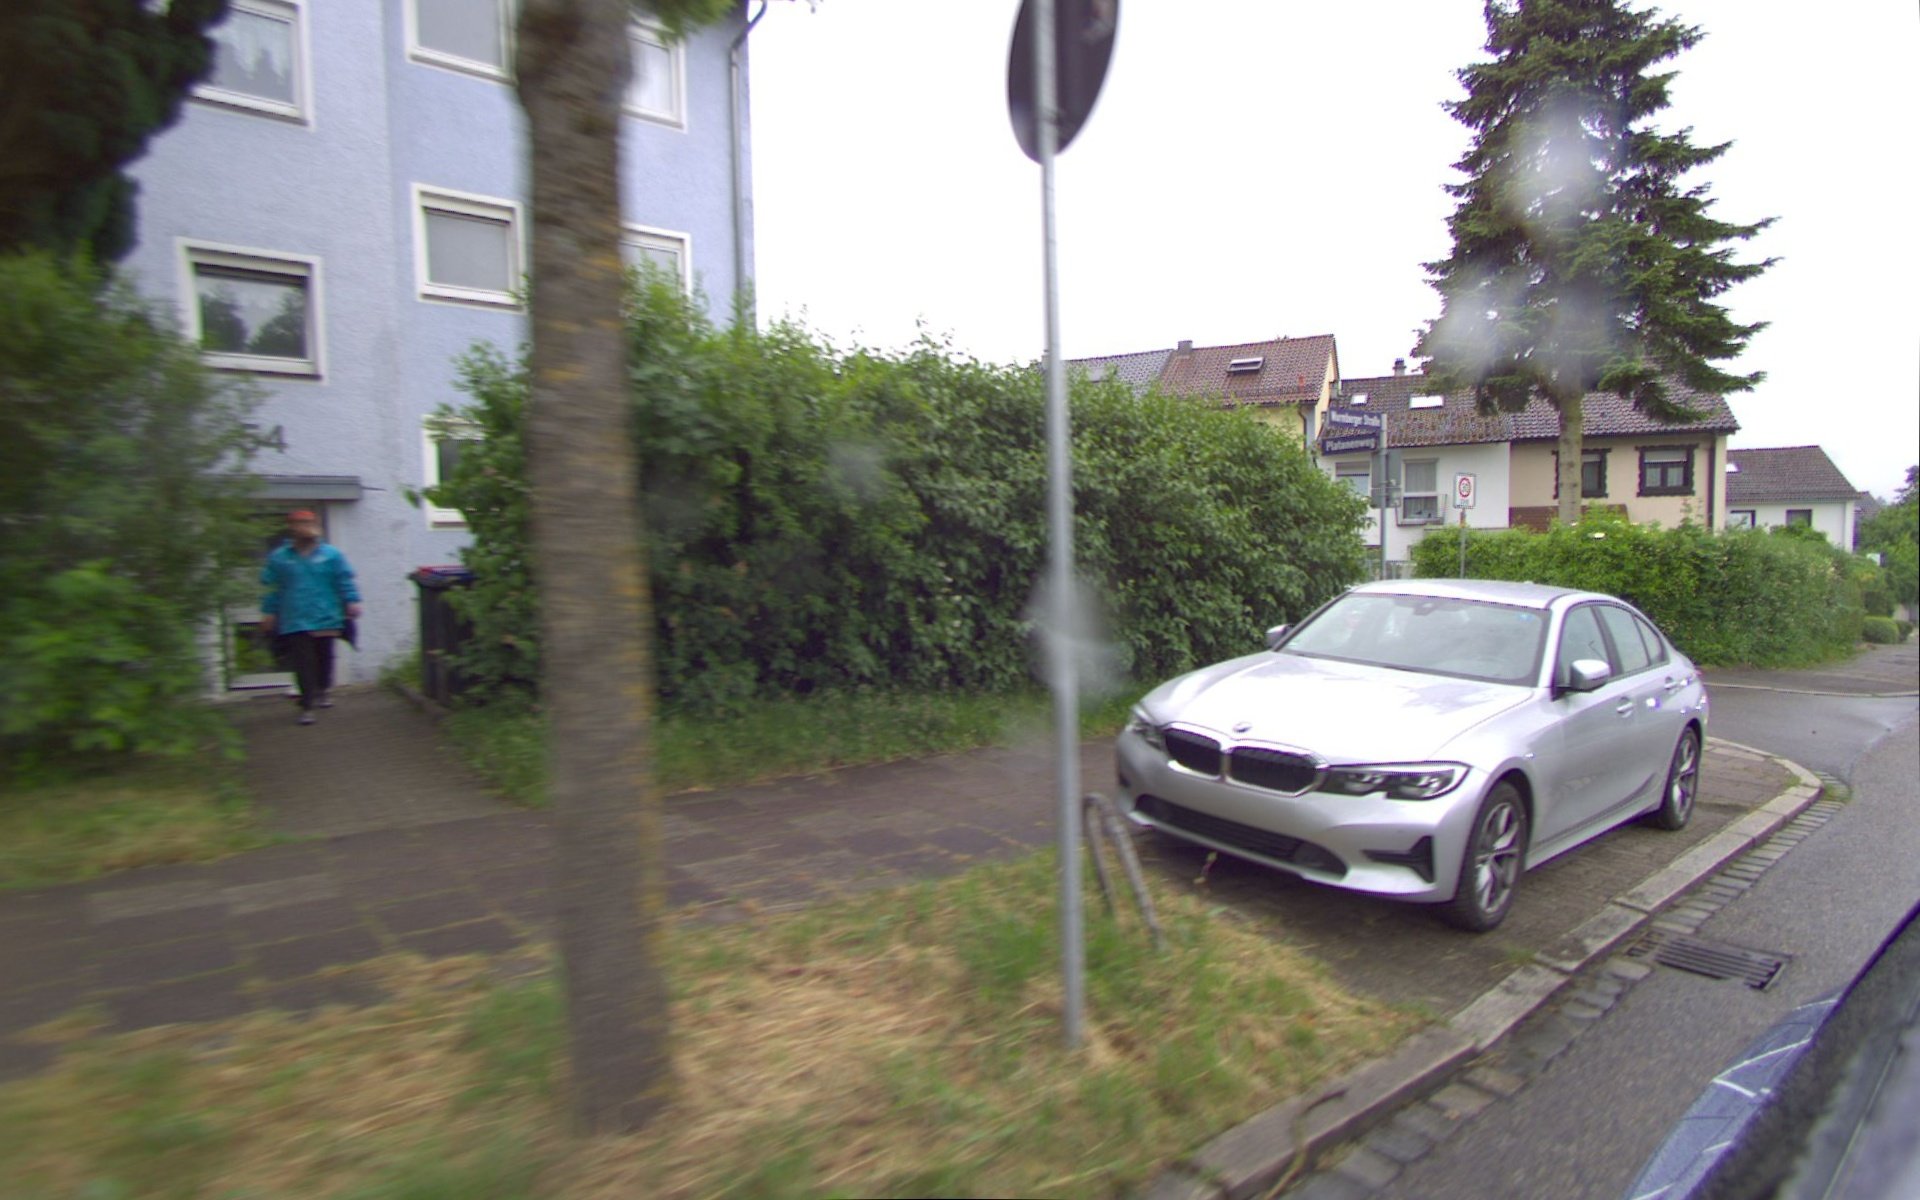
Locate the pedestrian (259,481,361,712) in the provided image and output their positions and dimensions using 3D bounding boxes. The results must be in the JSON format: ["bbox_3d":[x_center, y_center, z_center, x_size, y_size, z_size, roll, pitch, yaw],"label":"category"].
[{"bbox_3d":[-5.063,-0.047,7.897,0.641,1.700,0.711,0,3,-33],"label":"pedestrian"}]

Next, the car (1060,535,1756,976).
[{"bbox_3d":[2.828,0.513,5.819,4.510,1.540,1.803,0,5,-40],"label":"car"}]

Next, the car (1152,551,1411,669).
[{"bbox_3d":[5.248,0.056,16.942,1.696,1.529,3.786,-1,6,-38],"label":"car"}]
